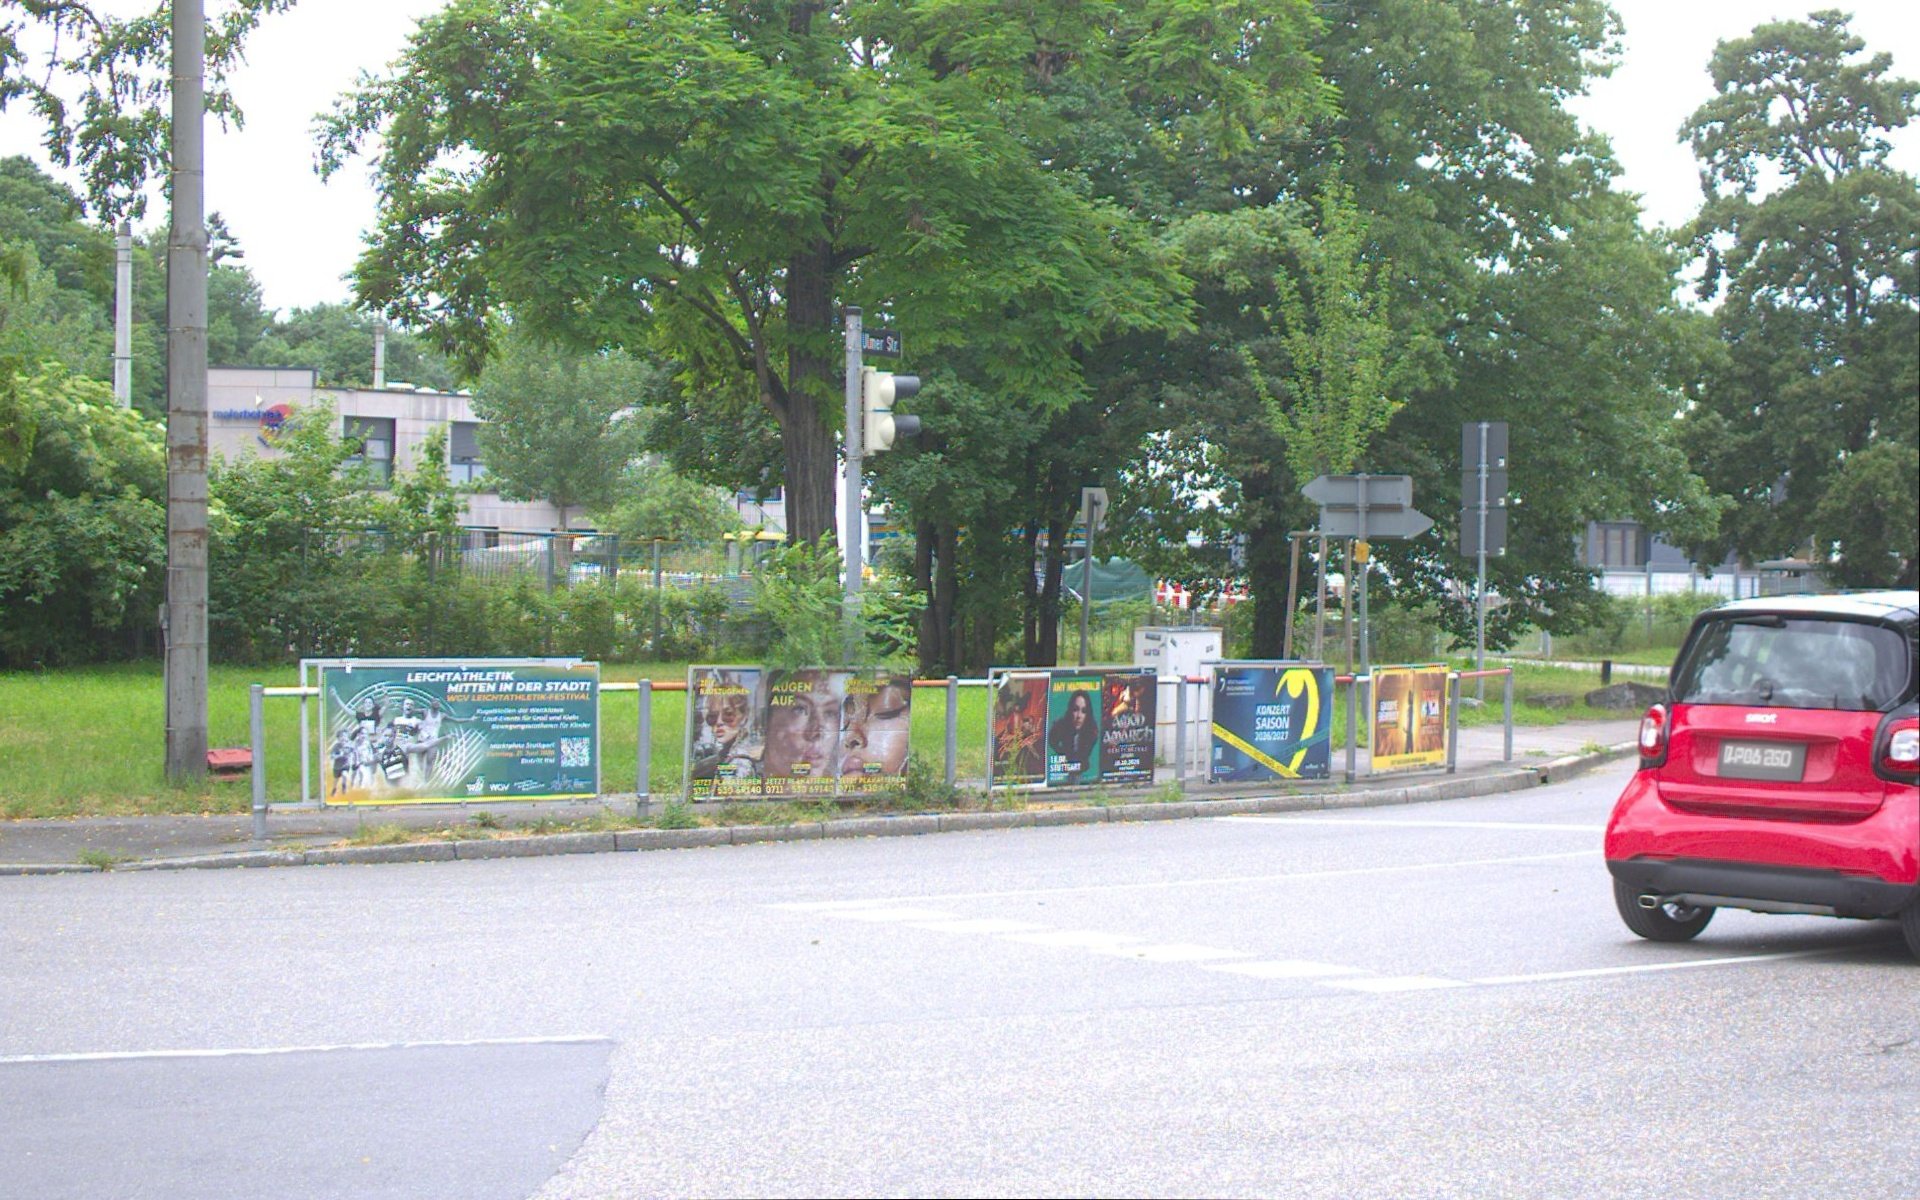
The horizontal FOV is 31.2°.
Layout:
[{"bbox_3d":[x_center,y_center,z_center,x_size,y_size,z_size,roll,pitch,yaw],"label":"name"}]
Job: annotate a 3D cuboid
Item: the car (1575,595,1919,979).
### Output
[{"bbox_3d":[4.336,0.729,15.036,3.012,1.459,1.716,0,1,-41],"label":"car"}]
